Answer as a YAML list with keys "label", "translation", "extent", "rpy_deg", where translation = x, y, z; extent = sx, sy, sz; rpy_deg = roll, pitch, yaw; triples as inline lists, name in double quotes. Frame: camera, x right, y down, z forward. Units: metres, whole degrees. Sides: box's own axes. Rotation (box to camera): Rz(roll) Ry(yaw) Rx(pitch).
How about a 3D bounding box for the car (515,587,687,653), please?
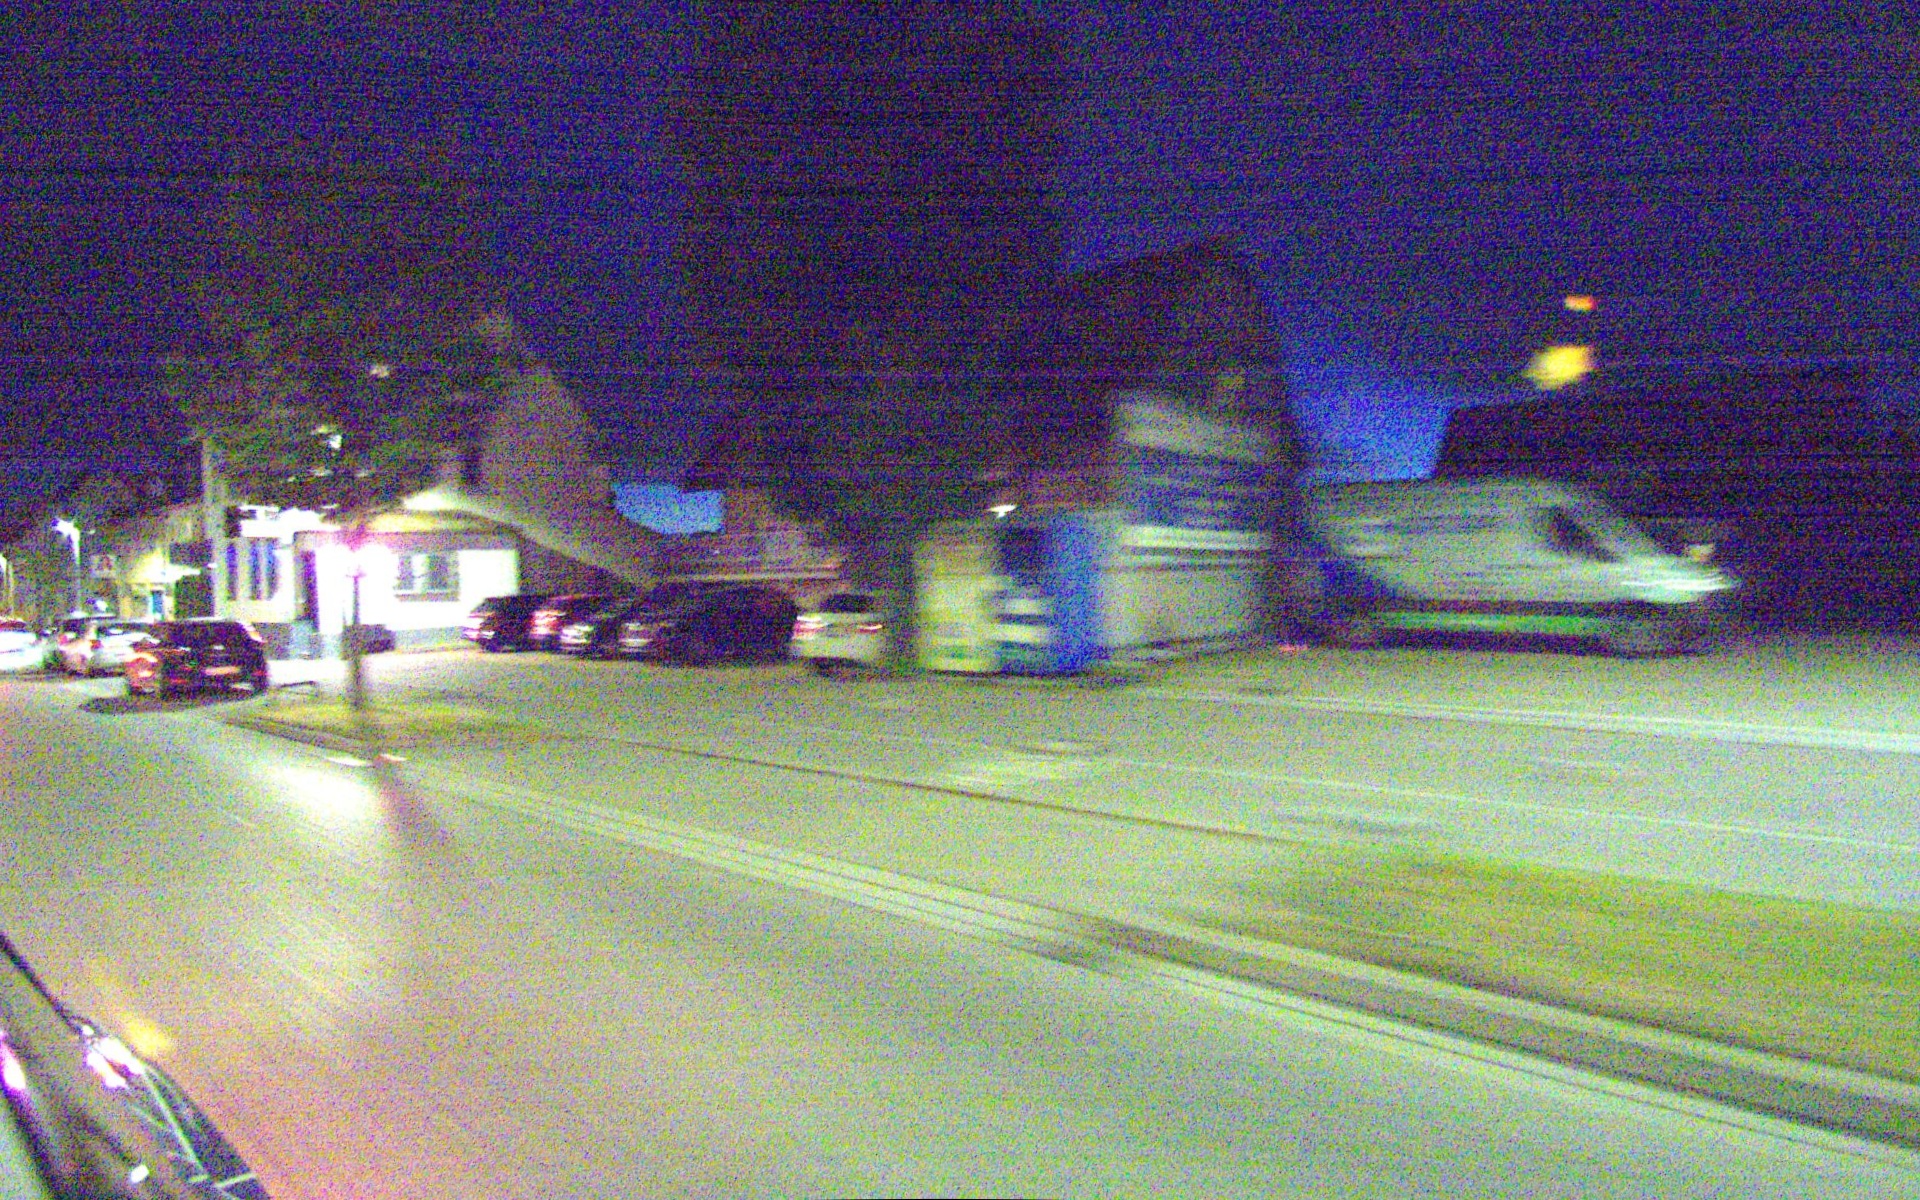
- label: "car"
  translation: [-9.736, 0.501, 27.624]
  extent: [2.001, 1.630, 3.942]
  rpy_deg: [-1, 0, 45]

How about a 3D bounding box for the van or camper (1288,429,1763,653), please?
- label: "van or camper"
  translation: [8.241, -0.720, 15.230]
  extent: [5.926, 2.767, 2.053]
  rpy_deg: [-1, 1, 41]

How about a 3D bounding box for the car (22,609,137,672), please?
- label: "car"
  translation: [-26.175, 1.154, 30.038]
  extent: [4.468, 1.649, 1.909]
  rpy_deg: [-1, 1, 41]

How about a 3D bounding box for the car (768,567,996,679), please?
- label: "car"
  translation: [-1.237, 0.415, 17.617]
  extent: [1.943, 1.716, 3.953]
  rpy_deg: [-1, -2, 34]

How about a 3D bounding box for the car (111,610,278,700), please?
- label: "car"
  translation: [-14.696, 0.988, 19.352]
  extent: [4.007, 1.480, 1.731]
  rpy_deg: [-1, 1, 41]

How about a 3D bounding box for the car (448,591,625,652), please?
- label: "car"
  translation: [-12.002, 0.574, 28.926]
  extent: [2.025, 1.573, 4.276]
  rpy_deg: [-1, 0, 34]

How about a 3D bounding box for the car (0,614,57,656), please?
- label: "car"
  translation: [-41.379, 1.509, 44.257]
  extent: [4.473, 1.559, 2.095]
  rpy_deg: [0, 5, 40]

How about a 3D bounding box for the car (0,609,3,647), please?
- label: "car"
  translation: [-50.924, 1.498, 51.900]
  extent: [4.884, 1.961, 2.095]
  rpy_deg: [-2, 1, 40]

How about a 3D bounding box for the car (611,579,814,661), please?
- label: "car"
  translation: [-5.544, 0.449, 22.984]
  extent: [2.000, 1.674, 4.070]
  rpy_deg: [-1, -2, 43]

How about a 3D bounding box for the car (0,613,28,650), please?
- label: "car"
  translation: [-45.689, 1.505, 47.681]
  extent: [4.166, 1.683, 2.095]
  rpy_deg: [-2, 1, 40]

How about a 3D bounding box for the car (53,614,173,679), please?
- label: "car"
  translation: [-22.246, 1.174, 26.533]
  extent: [3.964, 1.479, 1.753]
  rpy_deg: [-1, 1, 41]

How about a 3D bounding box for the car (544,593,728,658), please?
- label: "car"
  translation: [-8.030, 0.621, 25.321]
  extent: [2.000, 1.475, 3.943]
  rpy_deg: [-1, -1, 43]
